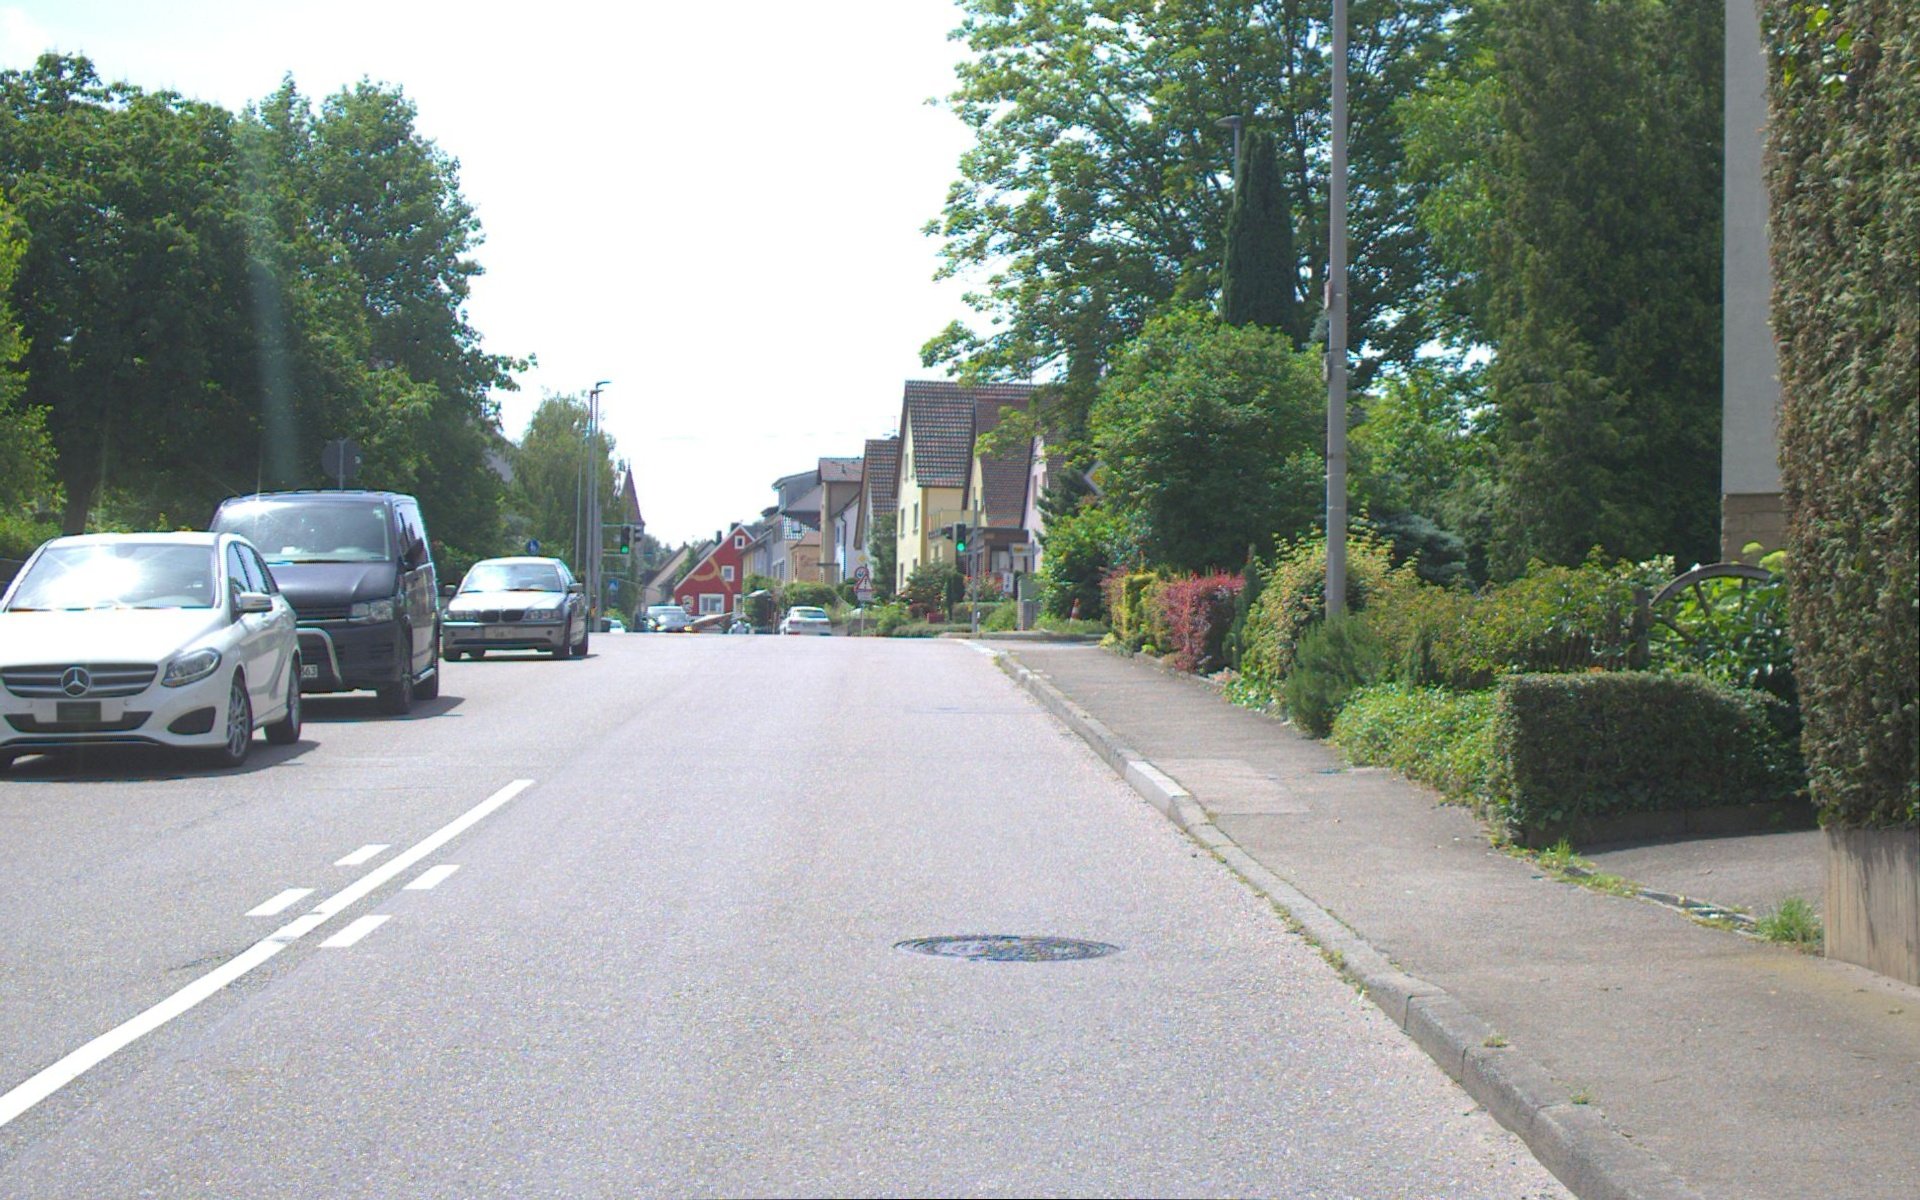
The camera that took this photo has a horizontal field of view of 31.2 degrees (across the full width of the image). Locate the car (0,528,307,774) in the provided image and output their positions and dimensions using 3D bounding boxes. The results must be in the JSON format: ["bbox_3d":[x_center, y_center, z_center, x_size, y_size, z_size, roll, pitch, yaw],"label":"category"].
[{"bbox_3d":[-5.698,0.279,23.716,1.811,1.544,4.244,0,1,-3],"label":"car"}]

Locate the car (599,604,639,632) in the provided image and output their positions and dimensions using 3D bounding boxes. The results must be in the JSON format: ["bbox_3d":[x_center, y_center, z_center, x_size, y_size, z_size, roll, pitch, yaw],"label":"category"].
[{"bbox_3d":[-19.401,1.020,195.825,2.110,1.555,4.314,0,-1,-3],"label":"car"}]

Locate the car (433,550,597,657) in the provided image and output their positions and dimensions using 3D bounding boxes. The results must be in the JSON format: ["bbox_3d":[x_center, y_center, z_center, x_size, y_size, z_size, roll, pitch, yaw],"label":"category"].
[{"bbox_3d":[-6.149,0.043,47.919,1.780,1.390,4.409,-1,0,-1],"label":"car"}]

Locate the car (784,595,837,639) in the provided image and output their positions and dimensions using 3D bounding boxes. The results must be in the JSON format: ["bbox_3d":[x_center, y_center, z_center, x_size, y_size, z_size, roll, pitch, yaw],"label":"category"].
[{"bbox_3d":[-5.808,0.649,133.633,1.993,1.598,4.000,0,1,-3],"label":"car"}]

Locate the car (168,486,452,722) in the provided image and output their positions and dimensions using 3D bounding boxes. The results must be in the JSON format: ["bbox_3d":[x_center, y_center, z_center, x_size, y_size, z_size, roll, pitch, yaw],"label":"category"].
[{"bbox_3d":[-5.750,-0.014,30.972,1.896,1.913,4.871,-1,1,-4],"label":"car"}]

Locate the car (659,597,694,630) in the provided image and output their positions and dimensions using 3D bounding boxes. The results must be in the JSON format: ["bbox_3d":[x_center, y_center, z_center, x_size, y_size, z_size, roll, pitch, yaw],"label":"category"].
[{"bbox_3d":[-13.410,0.635,162.665,1.534,1.536,4.305,0,0,-6],"label":"car"}]
